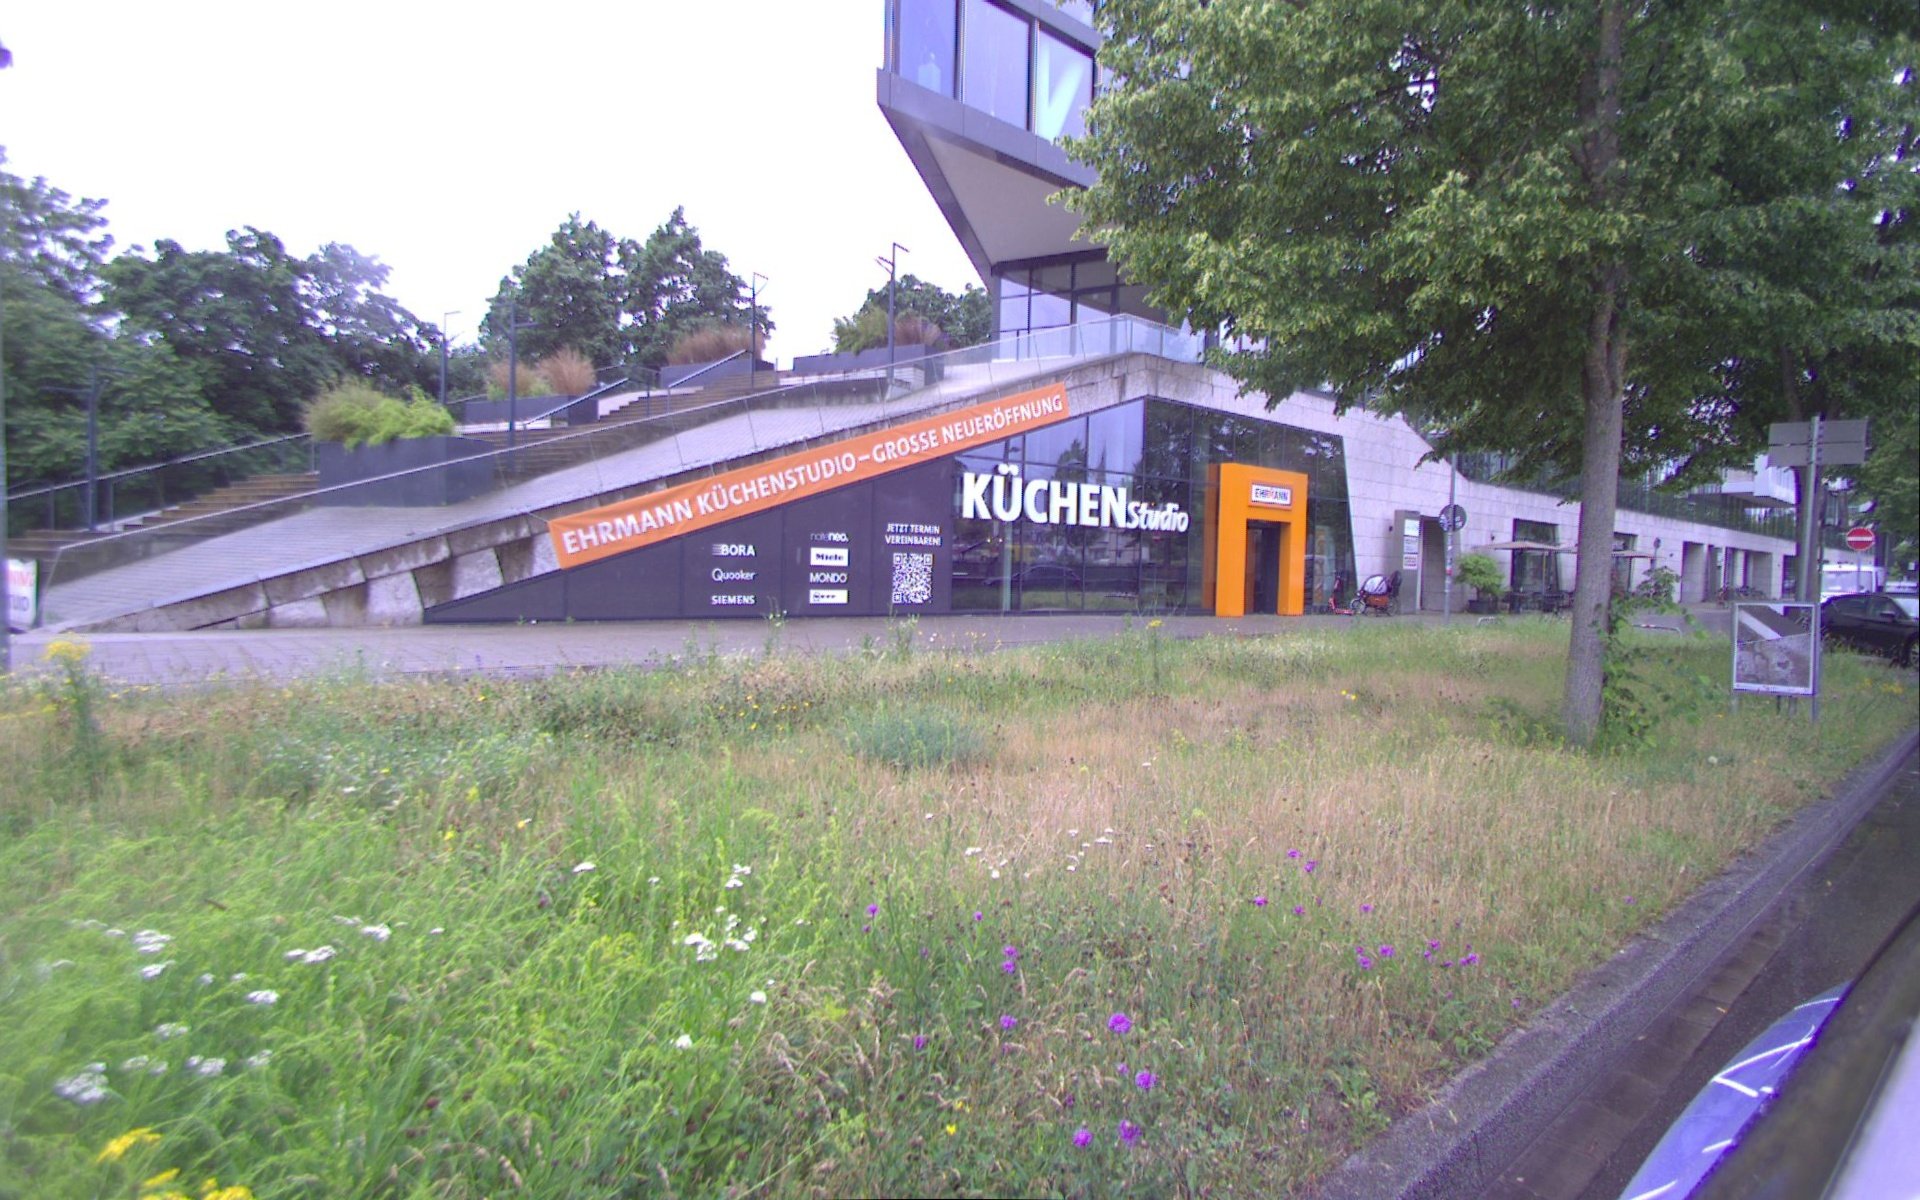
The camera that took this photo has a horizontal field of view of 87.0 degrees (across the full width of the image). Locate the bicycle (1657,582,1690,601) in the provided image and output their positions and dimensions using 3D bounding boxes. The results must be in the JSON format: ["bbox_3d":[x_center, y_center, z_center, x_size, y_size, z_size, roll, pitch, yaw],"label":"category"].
[{"bbox_3d":[37.241,-0.459,52.813,0.388,0.958,2.028,-1,1,4],"label":"bicycle"}]

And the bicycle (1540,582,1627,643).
[{"bbox_3d":[14.591,0.276,23.747,0.521,1.363,1.852,2,1,-16],"label":"bicycle"}]

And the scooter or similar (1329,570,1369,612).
[{"bbox_3d":[11.768,-0.289,30.636,1.214,1.243,0.343,-1,0,-22],"label":"scooter or similar"}]

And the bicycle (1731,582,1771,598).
[{"bbox_3d":[52.657,-0.696,67.398,0.389,0.957,2.025,-1,4,-45],"label":"bicycle"}]

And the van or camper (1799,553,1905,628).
[{"bbox_3d":[29.826,-0.370,33.781,5.367,2.320,2.028,-1,2,-42],"label":"van or camper"}]

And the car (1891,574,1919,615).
[{"bbox_3d":[44.005,-0.284,46.210,4.766,1.781,1.744,-1,2,-42],"label":"car"}]

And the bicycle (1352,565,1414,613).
[{"bbox_3d":[13.271,-0.342,31.694,2.382,1.419,0.734,0,3,-41],"label":"bicycle"}]

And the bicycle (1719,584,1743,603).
[{"bbox_3d":[40.242,-0.351,52.811,1.823,0.957,0.403,-1,2,-34],"label":"bicycle"}]

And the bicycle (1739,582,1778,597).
[{"bbox_3d":[54.847,-0.740,69.498,0.389,0.957,2.025,-1,4,-45],"label":"bicycle"}]

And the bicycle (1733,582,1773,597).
[{"bbox_3d":[53.509,-0.713,68.293,0.389,0.957,2.025,-1,4,-45],"label":"bicycle"}]

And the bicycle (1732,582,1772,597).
[{"bbox_3d":[53.102,-0.705,67.873,0.389,0.957,2.025,-1,4,-45],"label":"bicycle"}]

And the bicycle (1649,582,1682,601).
[{"bbox_3d":[36.624,-0.447,52.555,0.388,0.958,2.028,-1,1,4],"label":"bicycle"}]

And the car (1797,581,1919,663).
[{"bbox_3d":[18.535,0.397,19.453,1.803,1.437,4.334,1,2,10],"label":"car"}]

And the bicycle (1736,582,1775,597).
[{"bbox_3d":[53.964,-0.730,68.643,0.389,0.957,2.025,-1,4,-45],"label":"bicycle"}]
